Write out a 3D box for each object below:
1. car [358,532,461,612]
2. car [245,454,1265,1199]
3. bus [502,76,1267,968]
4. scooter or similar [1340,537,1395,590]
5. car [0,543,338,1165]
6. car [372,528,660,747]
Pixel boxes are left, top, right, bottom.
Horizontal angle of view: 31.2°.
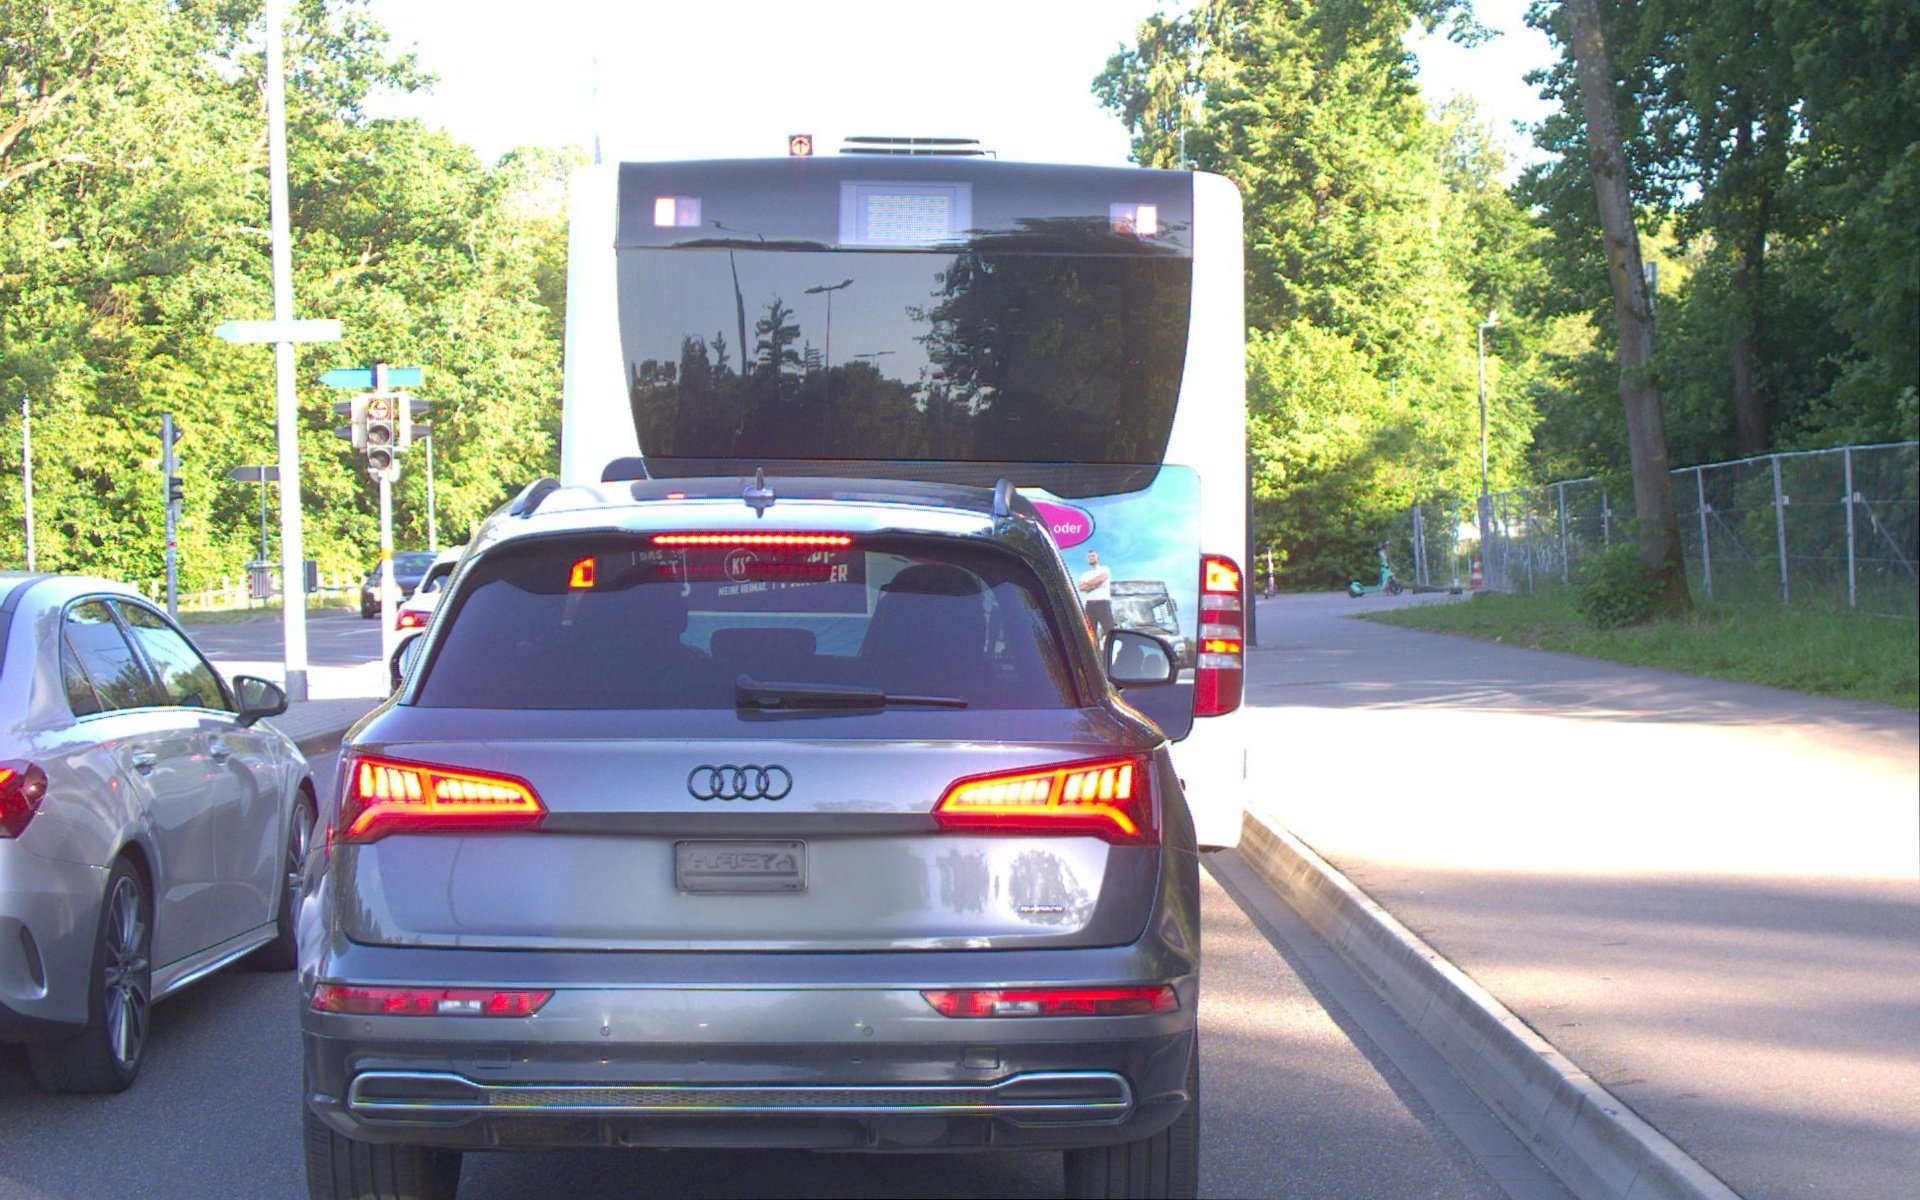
[{"bbox_3d":[-12.171,-0.641,76.204,1.993,1.656,4.001,-2,1,-6],"label":"car"},{"bbox_3d":[-0.405,0.516,8.357,1.868,1.658,4.000,1,2,-1],"label":"car"},{"bbox_3d":[-0.241,-0.354,15.152,2.678,3.131,5.882,1,2,1],"label":"bus"},{"bbox_3d":[9.248,-0.834,77.958,1.184,1.170,0.659,1,1,11],"label":"scooter or similar"},{"bbox_3d":[-3.143,0.575,10.422,1.785,1.439,4.278,1,2,-1],"label":"car"},{"bbox_3d":[-3.457,0.238,27.413,1.808,1.567,4.000,1,2,-1],"label":"car"}]
